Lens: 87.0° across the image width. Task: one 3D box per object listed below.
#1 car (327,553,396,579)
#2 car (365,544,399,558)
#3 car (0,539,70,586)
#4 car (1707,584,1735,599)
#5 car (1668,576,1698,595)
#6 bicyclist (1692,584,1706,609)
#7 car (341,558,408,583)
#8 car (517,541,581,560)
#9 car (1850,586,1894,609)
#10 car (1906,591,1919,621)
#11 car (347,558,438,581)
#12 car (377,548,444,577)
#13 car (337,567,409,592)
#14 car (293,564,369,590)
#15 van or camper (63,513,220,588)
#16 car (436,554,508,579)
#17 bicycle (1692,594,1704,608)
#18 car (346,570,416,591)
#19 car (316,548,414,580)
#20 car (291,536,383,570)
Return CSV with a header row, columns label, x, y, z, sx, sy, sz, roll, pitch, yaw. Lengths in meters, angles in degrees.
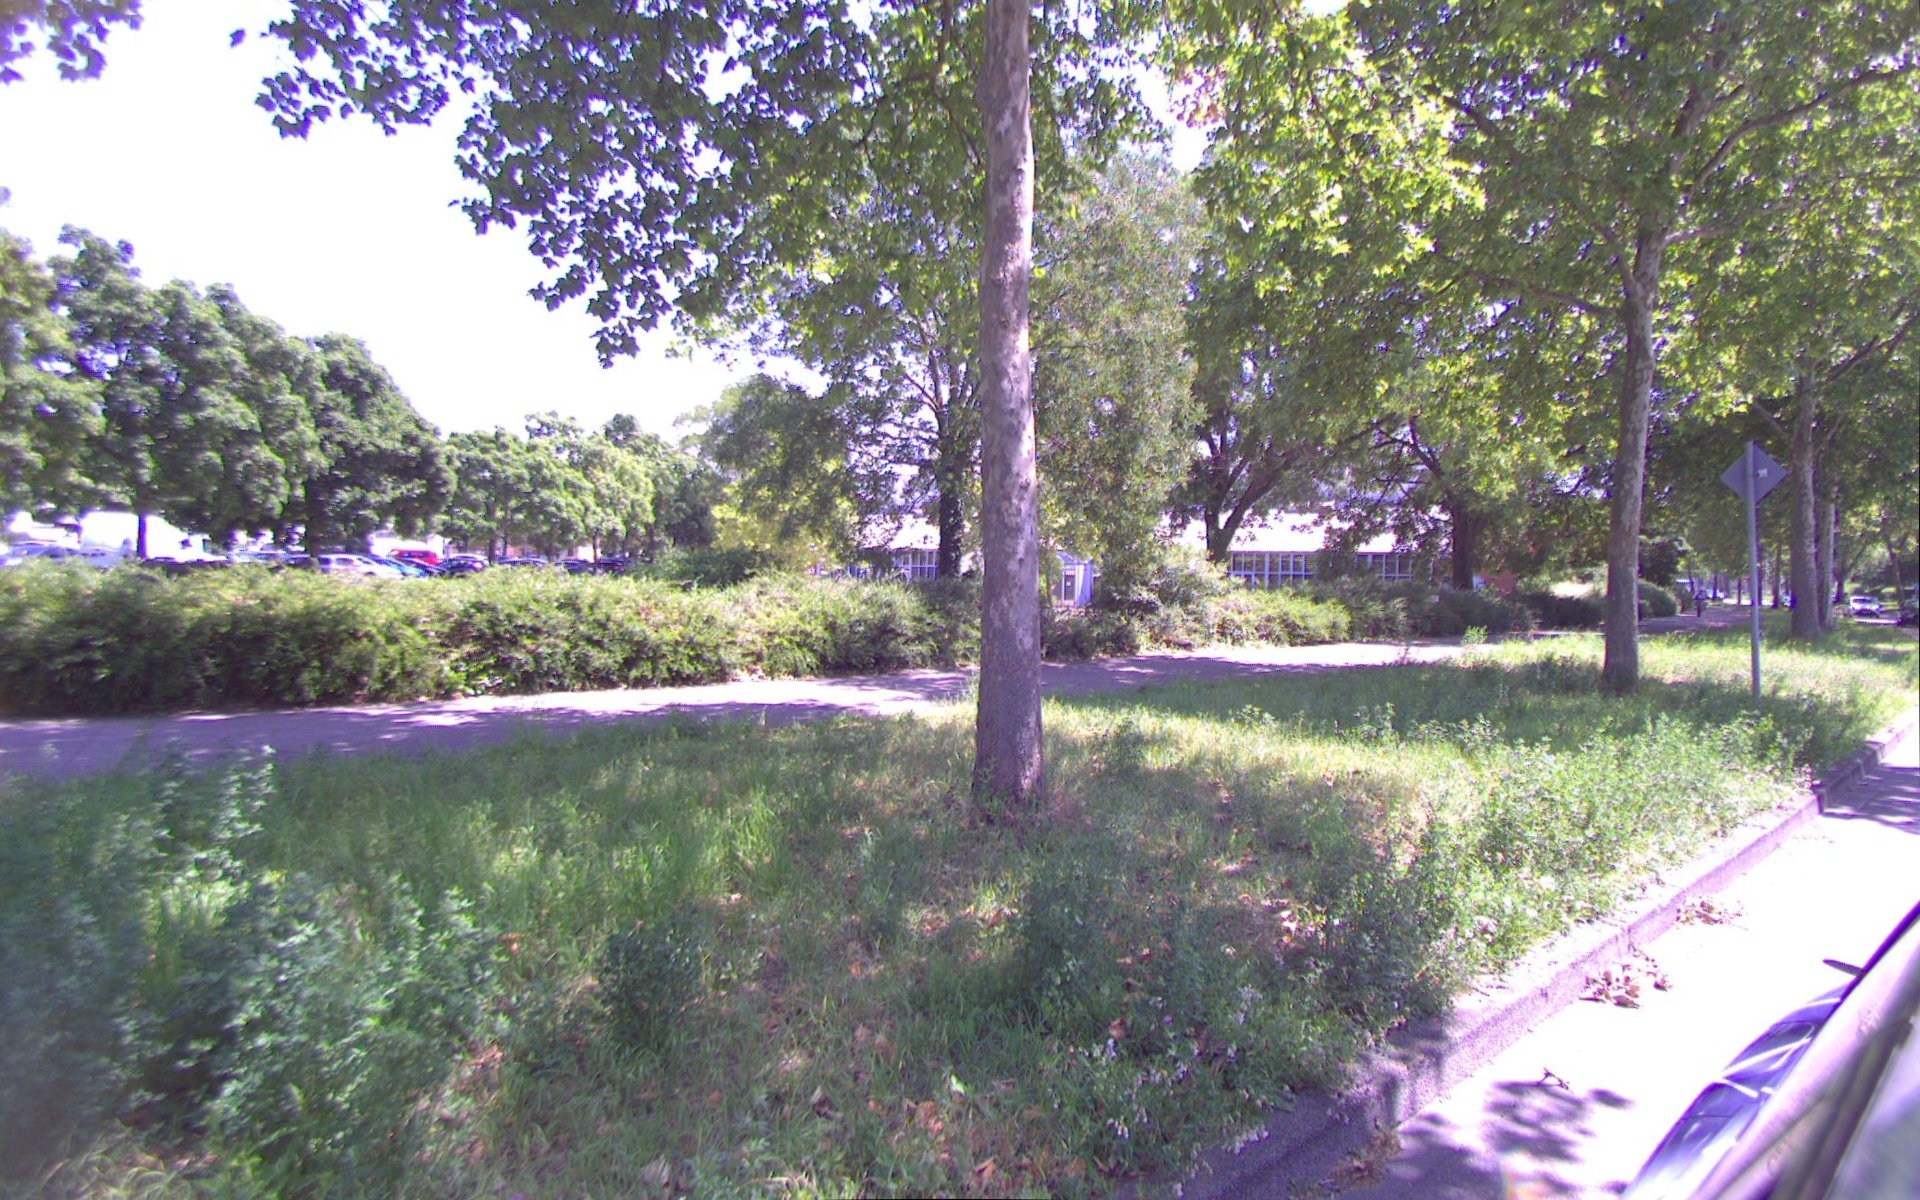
label,x,y,z,sx,sy,sz,roll,pitch,yaw
car,-27.498,-1.542,46.535,2.547,1.141,1.008,1,1,-8
car,-70.025,-5.936,122.695,1.433,1.638,3.326,2,2,35
car,-36.520,-1.436,38.424,1.919,1.739,4.073,1,1,-1
car,92.395,-1.056,122.847,1.981,1.816,3.963,2,1,27
car,101.459,-2.049,142.054,2.897,2.687,6.295,1,2,32
bicyclist,40.191,-0.181,55.039,0.598,1.355,0.657,2,1,37
car,-27.688,-1.384,47.883,2.547,1.141,0.955,1,1,-8
car,-62.760,-7.599,154.763,8.647,2.620,3.054,1,1,-9
car,63.262,-0.200,70.242,1.612,1.463,3.609,2,2,33
car,49.599,0.301,51.409,3.719,1.475,1.876,0,1,-41
car,-27.495,-1.469,49.124,3.494,1.047,1.685,1,2,-8
car,-40.942,-2.764,75.416,3.919,2.039,1.970,1,1,-6
car,-25.472,-0.889,43.956,2.547,0.999,0.955,1,1,-8
car,-26.349,-0.962,42.423,2.547,1.049,0.955,1,1,-8
van or camper,-32.485,-1.920,40.392,2.161,2.785,5.131,1,2,0
car,-27.963,-1.910,58.123,3.357,1.383,1.720,1,1,-8
bicycle,40.133,0.053,55.007,0.463,0.773,1.645,2,1,38
car,-25.840,-0.868,45.205,2.547,0.852,0.955,1,1,-8
car,-27.328,-1.629,46.583,3.501,1.241,1.622,3,0,-8
car,-38.795,-2.909,63.144,4.334,2.038,2.249,1,1,-5
